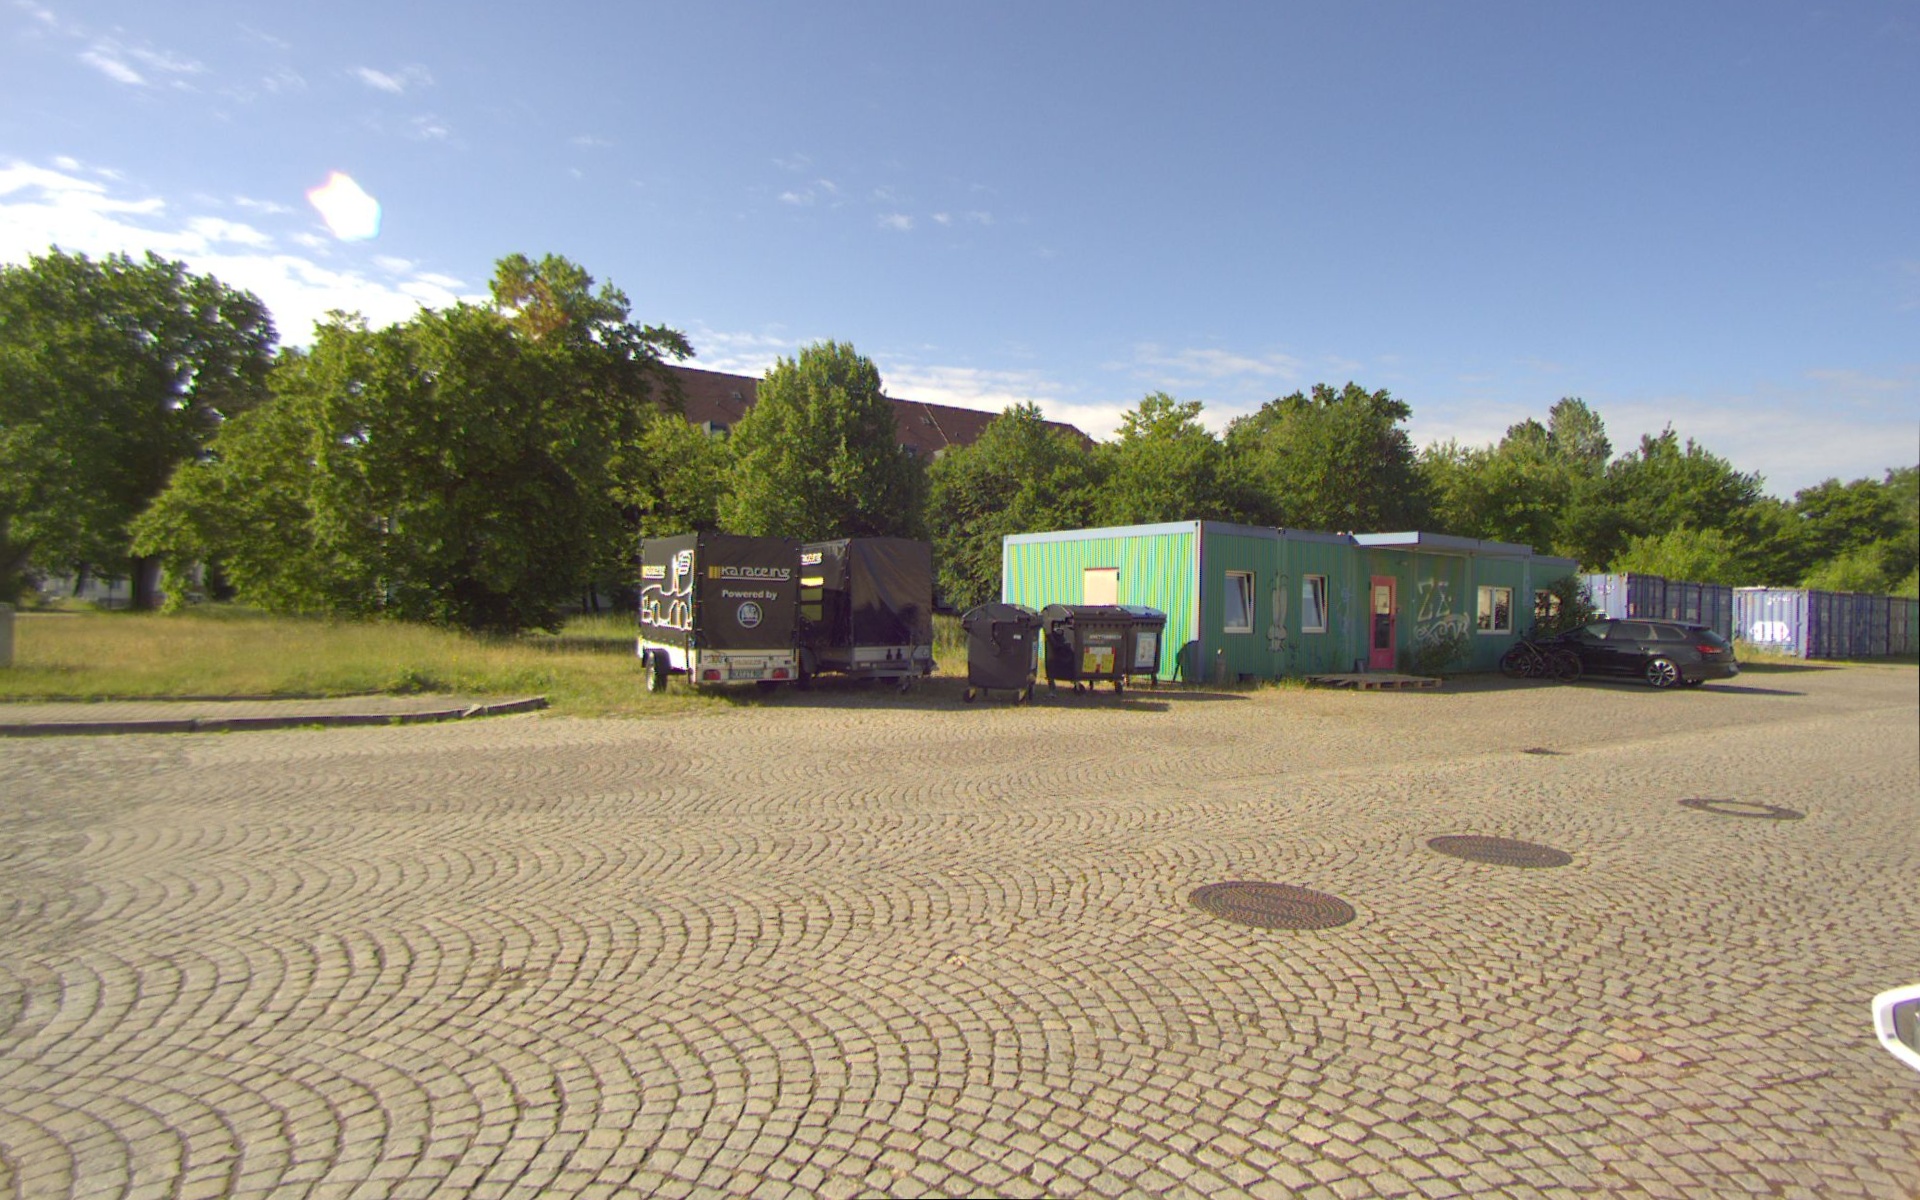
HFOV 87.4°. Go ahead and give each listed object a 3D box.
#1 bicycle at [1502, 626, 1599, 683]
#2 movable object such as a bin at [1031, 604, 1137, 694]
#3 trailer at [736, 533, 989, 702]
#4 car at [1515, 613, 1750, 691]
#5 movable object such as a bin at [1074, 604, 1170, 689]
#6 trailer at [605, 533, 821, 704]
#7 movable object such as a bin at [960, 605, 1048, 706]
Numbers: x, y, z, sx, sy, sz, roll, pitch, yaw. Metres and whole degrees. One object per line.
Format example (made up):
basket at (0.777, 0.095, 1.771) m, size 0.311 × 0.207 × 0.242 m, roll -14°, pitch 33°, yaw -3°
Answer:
bicycle at (13.080, 1.186, 22.295) m, size 0.666 × 1.116 × 1.698 m, roll 1°, pitch 2°, yaw -32°
movable object such as a bin at (2.037, 0.789, 16.603) m, size 1.352 × 1.404 × 1.075 m, roll 1°, pitch 0°, yaw -30°
trailer at (-1.802, 0.212, 16.865) m, size 1.926 × 2.423 × 4.802 m, roll 1°, pitch 1°, yaw -38°
car at (14.918, 1.096, 22.476) m, size 1.716 × 1.432 × 4.018 m, roll 2°, pitch 1°, yaw -38°
movable object such as a bin at (2.941, 0.818, 18.203) m, size 1.400 × 1.456 × 1.074 m, roll 1°, pitch 0°, yaw -45°
trailer at (-4.069, 0.220, 15.947) m, size 1.992 × 2.303 × 4.428 m, roll 1°, pitch 1°, yaw -32°
movable object such as a bin at (0.676, 0.798, 15.022) m, size 1.026 × 1.404 × 1.365 m, roll 1°, pitch 0°, yaw 15°
